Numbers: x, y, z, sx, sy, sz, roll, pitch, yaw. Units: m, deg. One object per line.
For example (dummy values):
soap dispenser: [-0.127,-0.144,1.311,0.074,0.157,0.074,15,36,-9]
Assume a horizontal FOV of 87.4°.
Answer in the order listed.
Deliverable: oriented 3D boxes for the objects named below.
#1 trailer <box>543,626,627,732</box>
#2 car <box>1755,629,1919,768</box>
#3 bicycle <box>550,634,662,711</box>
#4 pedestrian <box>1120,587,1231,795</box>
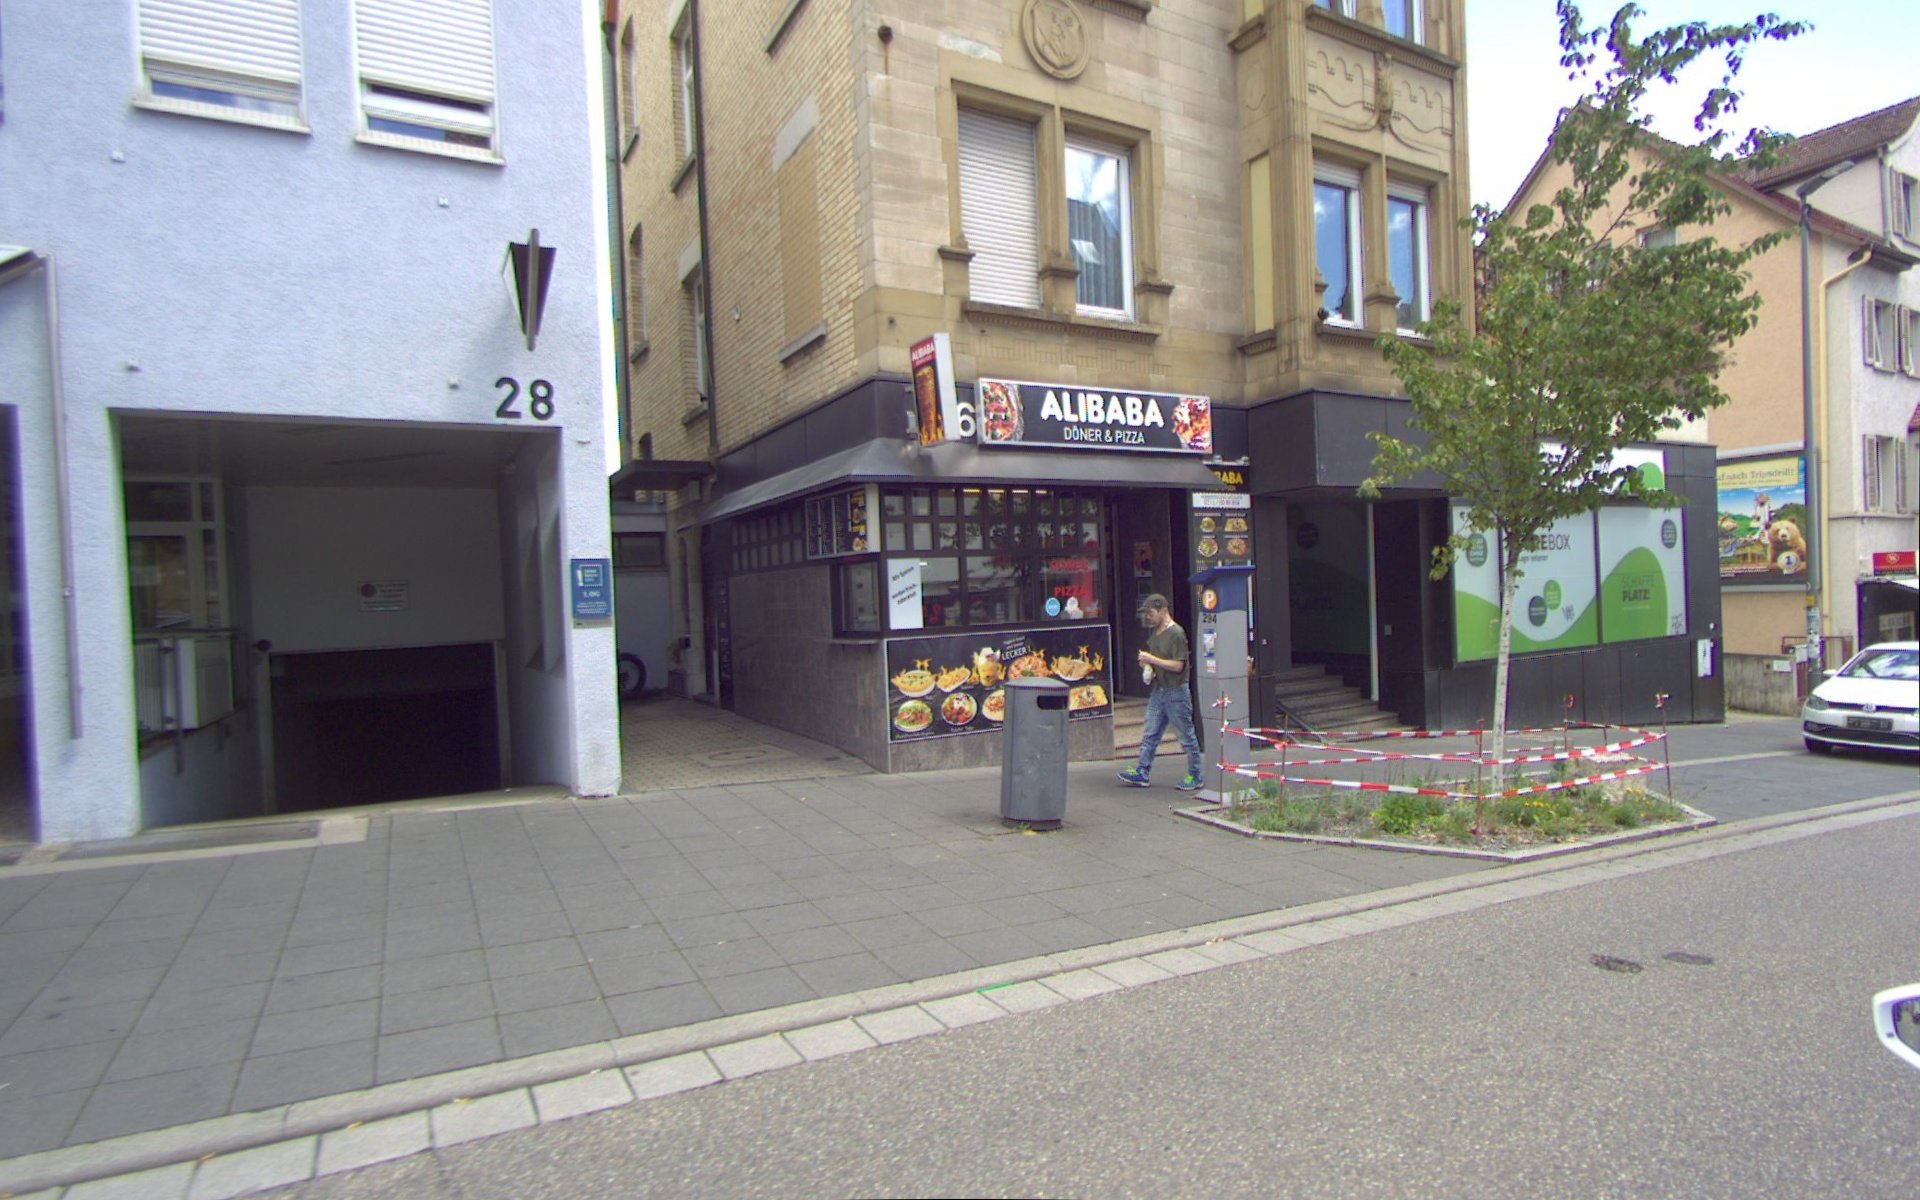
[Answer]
trailer: [-4.795,0.972,12.799,0.780,1.229,1.226,-2,0,-29]
car: [12.662,1.203,13.357,4.213,1.531,1.916,1,1,-31]
bicycle: [-5.460,1.101,15.526,1.503,1.009,0.436,-5,2,-30]
pedestrian: [1.882,0.762,8.793,0.702,1.736,0.584,1,1,-30]
